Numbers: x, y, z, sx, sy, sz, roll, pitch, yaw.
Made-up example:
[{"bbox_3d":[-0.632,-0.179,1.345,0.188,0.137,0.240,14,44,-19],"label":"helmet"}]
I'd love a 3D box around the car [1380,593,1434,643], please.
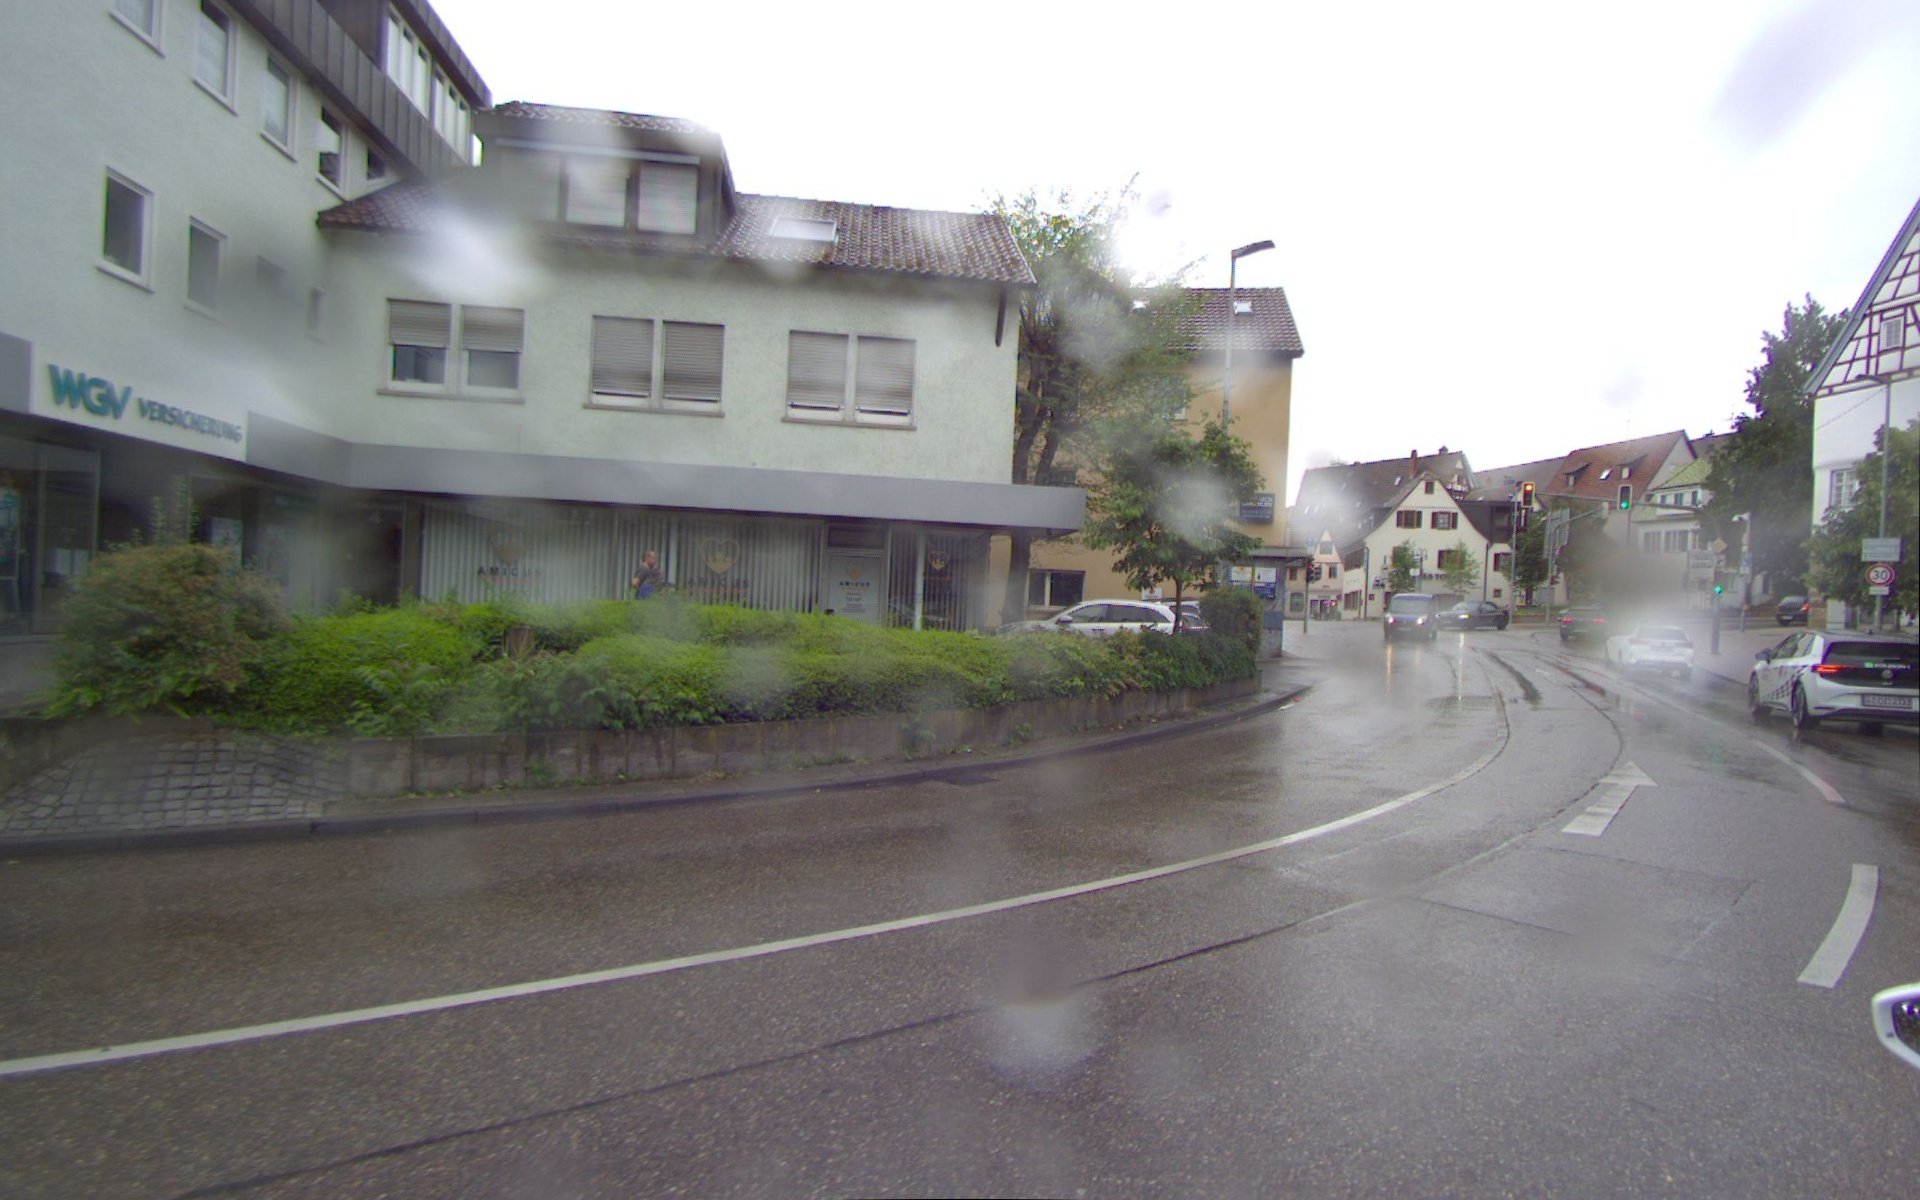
[{"bbox_3d":[18.761,0.681,42.102,1.962,1.907,4.373,1,1,25],"label":"car"}]

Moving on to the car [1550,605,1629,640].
[{"bbox_3d":[26.838,0.936,42.775,3.972,1.319,1.974,-1,2,-44],"label":"car"}]

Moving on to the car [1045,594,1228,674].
[{"bbox_3d":[4.901,0.935,28.281,4.835,1.850,1.963,-4,2,8],"label":"car"}]

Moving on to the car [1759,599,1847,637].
[{"bbox_3d":[40.509,0.883,48.292,3.377,1.543,1.584,3,-6,-17],"label":"car"}]

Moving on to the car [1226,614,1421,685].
[{"bbox_3d":[8.342,1.104,23.350,3.919,1.473,1.901,0,1,7],"label":"car"}]

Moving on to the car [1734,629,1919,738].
[{"bbox_3d":[14.024,1.257,16.112,1.828,1.492,3.996,1,-2,27],"label":"car"}]

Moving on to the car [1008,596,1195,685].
[{"bbox_3d":[2.870,0.808,21.005,3.574,1.650,2.000,2,0,-1],"label":"car"}]

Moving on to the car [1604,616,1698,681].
[{"bbox_3d":[20.544,1.373,30.022,1.857,1.617,4.318,1,1,29],"label":"car"}]

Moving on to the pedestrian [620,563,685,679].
[{"bbox_3d":[-4.628,0.312,15.156,0.848,1.694,0.616,2,1,-12],"label":"pedestrian"}]

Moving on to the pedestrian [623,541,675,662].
[{"bbox_3d":[-4.860,0.027,15.723,0.661,1.844,0.616,2,1,-12],"label":"pedestrian"}]

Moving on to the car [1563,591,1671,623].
[{"bbox_3d":[35.138,0.352,53.867,4.388,1.612,2.001,0,1,12],"label":"car"}]

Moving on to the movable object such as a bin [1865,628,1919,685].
[{"bbox_3d":[23.458,1.404,25.001,1.138,1.330,1.183,2,0,32],"label":"movable object such as a bin"}]
